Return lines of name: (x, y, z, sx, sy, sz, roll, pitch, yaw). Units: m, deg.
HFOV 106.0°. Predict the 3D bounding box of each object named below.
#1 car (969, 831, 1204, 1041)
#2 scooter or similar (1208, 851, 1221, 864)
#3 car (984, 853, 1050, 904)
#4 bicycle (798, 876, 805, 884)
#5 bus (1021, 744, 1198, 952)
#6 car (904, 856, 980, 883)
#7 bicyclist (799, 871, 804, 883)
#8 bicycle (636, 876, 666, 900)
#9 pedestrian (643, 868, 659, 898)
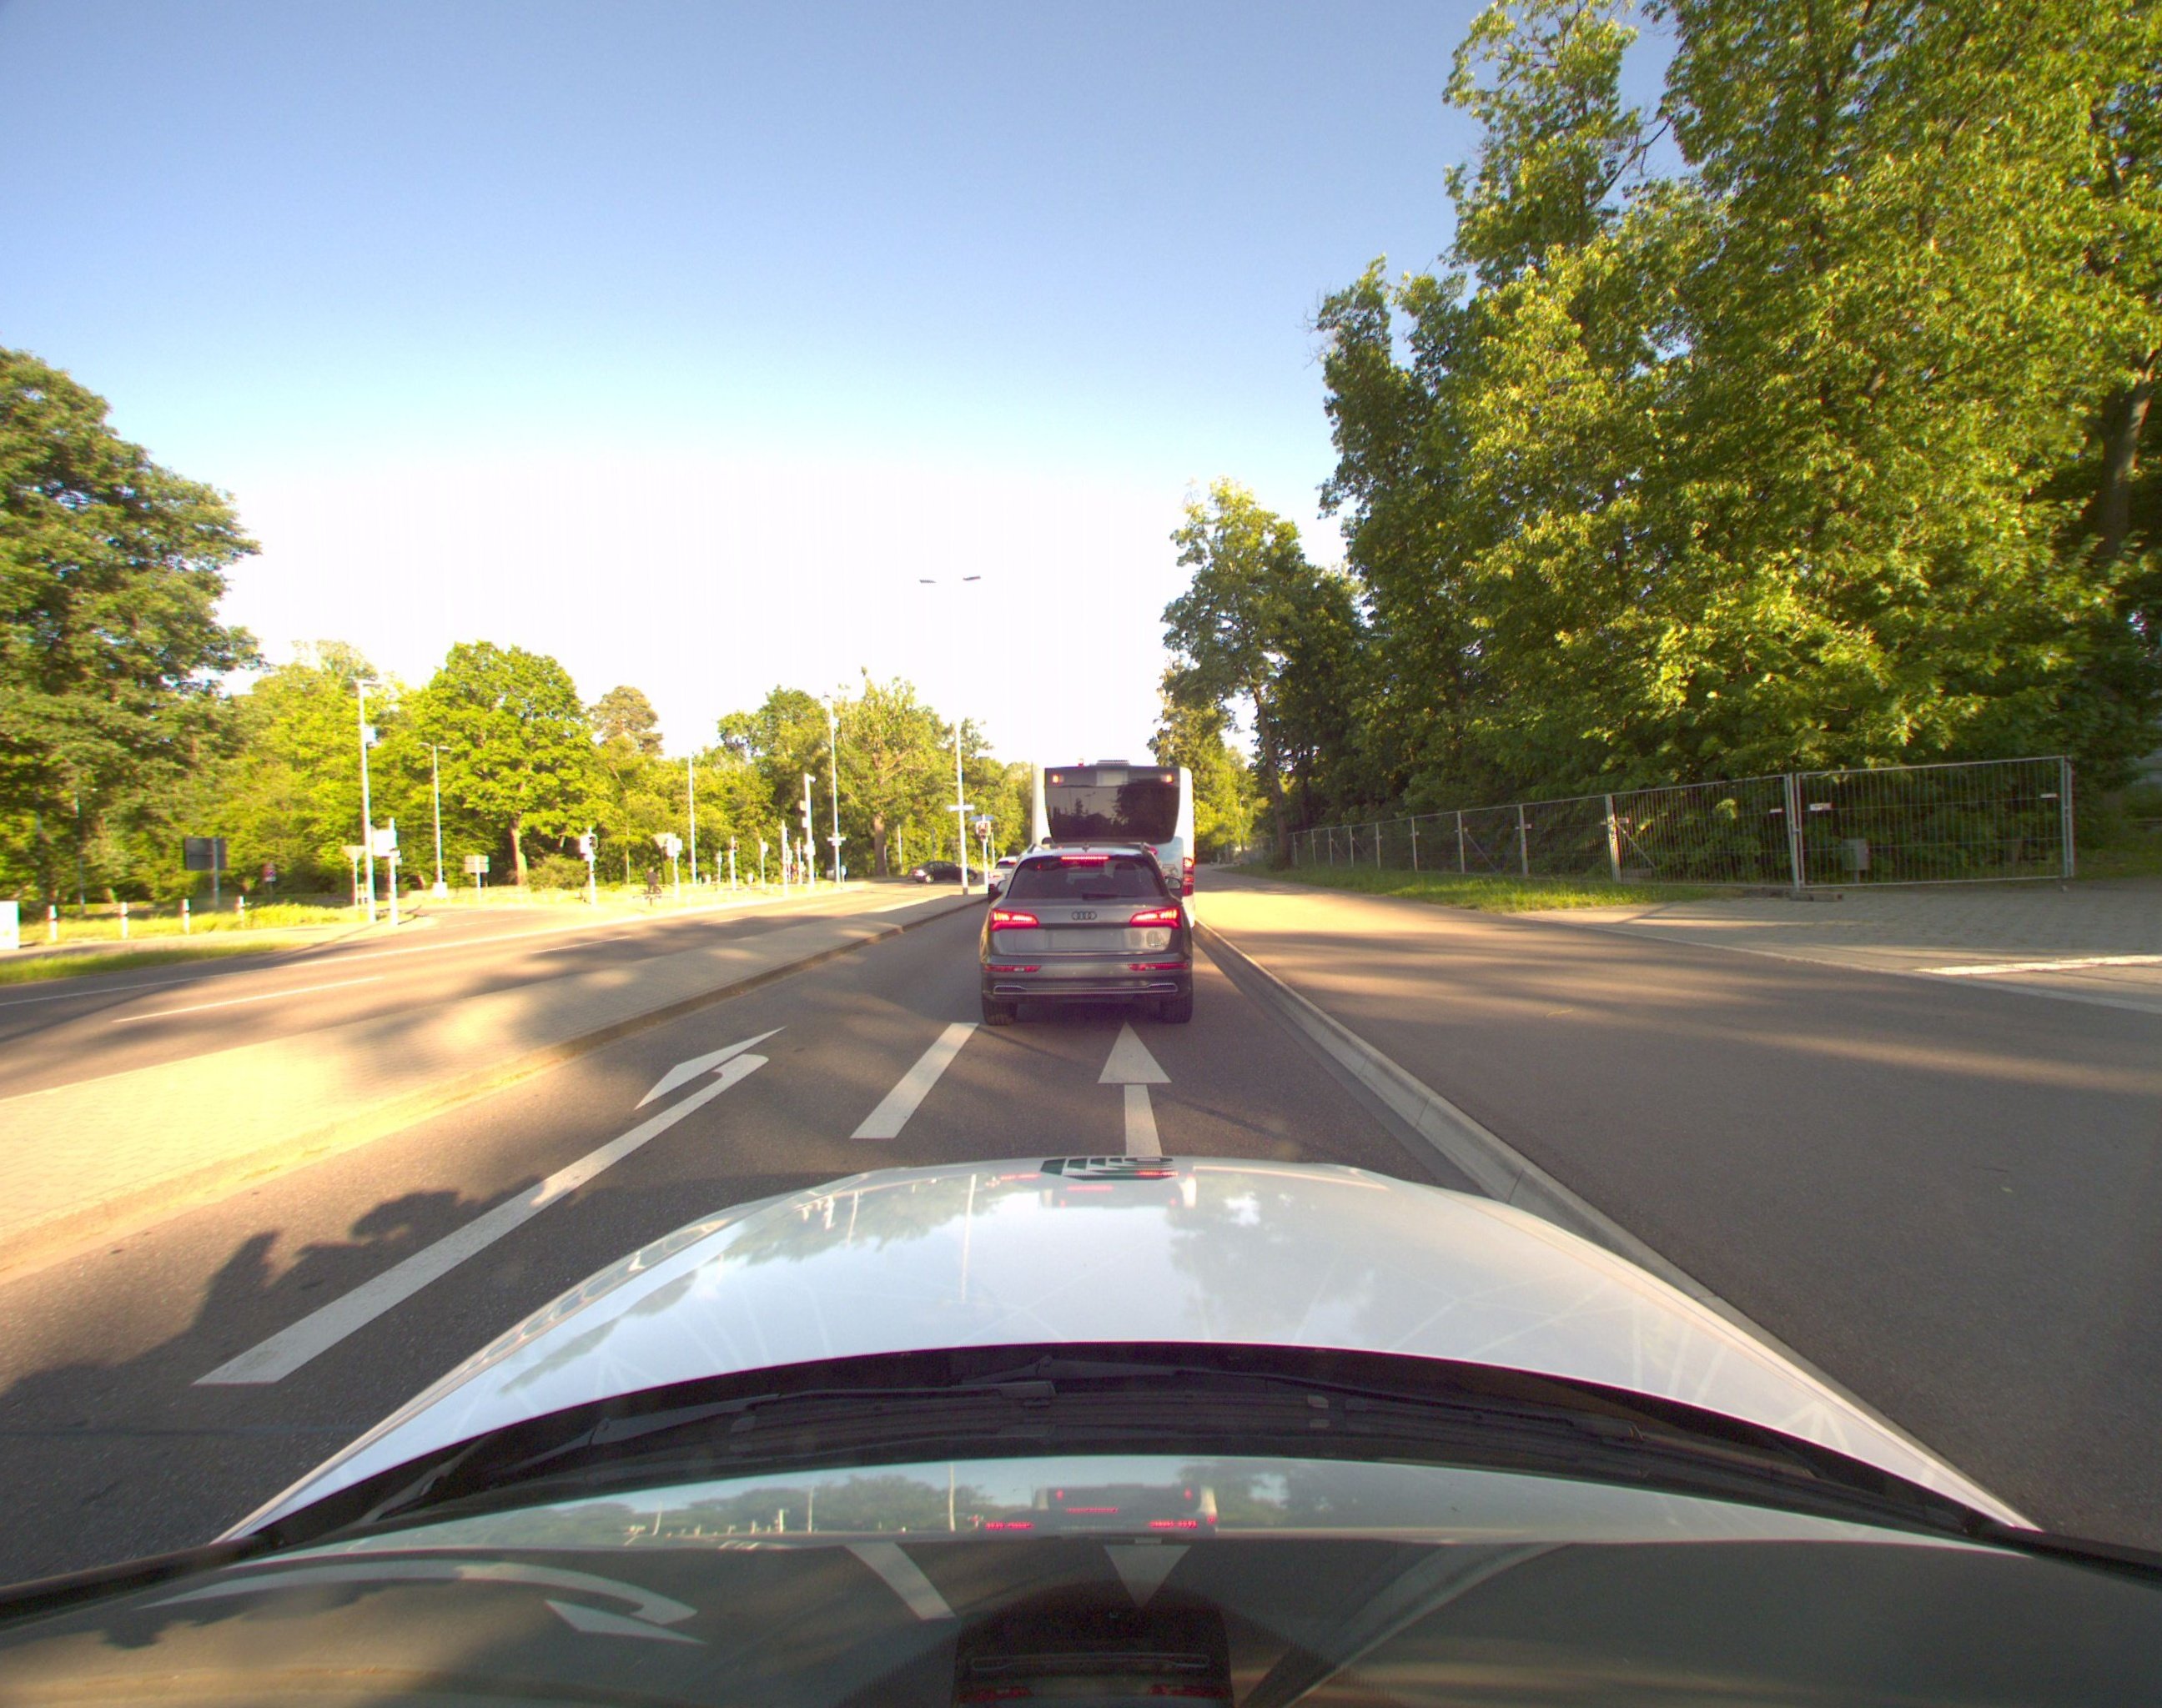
car: (0.107, 0.636, 8.482, 1.861, 1.663, 4.002, 0, 0, 2)
scooter or similar: (12.791, 0.332, 77.889, 1.175, 1.174, 0.661, 0, 0, 13)
car: (-2.104, 0.780, 27.743, 1.801, 1.572, 4.002, 0, 0, 2)
bicycle: (-22.239, 2.067, 64.791, 0.266, 0.581, 0.838, 0, -1, -4)
bus: (0.587, -0.114, 15.301, 2.667, 3.142, 5.887, 0, 0, 3)
car: (-8.852, 0.984, 51.937, 4.340, 1.652, 1.981, 0, -1, -30)
bicyclist: (-22.250, 1.819, 64.850, 0.273, 0.963, 0.240, 0, -1, -5)
bicycle: (-22.698, 1.787, 42.998, 0.466, 1.178, 2.005, 0, -1, 2)
pedestrian: (-22.711, 1.524, 43.010, 0.480, 1.562, 0.649, 0, -1, 2)
